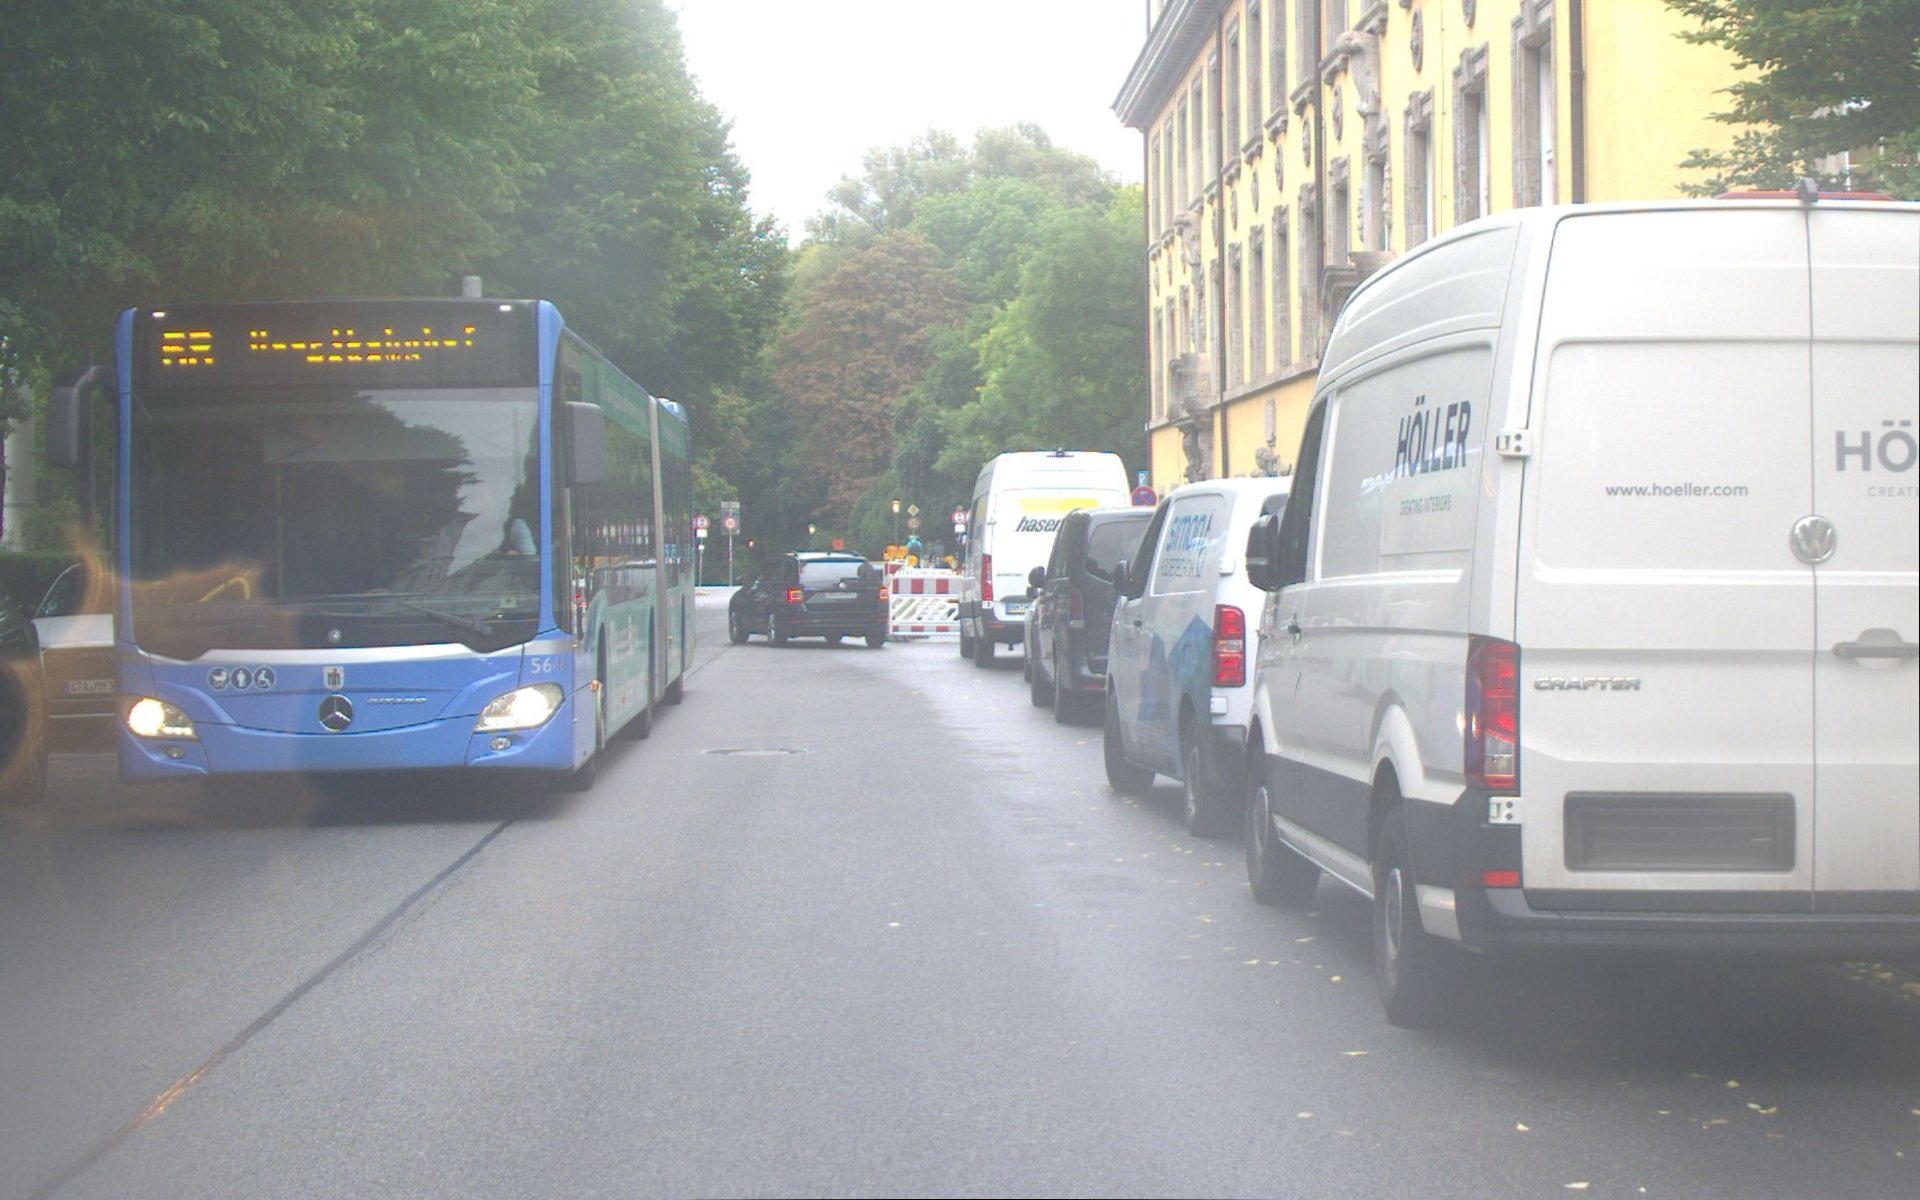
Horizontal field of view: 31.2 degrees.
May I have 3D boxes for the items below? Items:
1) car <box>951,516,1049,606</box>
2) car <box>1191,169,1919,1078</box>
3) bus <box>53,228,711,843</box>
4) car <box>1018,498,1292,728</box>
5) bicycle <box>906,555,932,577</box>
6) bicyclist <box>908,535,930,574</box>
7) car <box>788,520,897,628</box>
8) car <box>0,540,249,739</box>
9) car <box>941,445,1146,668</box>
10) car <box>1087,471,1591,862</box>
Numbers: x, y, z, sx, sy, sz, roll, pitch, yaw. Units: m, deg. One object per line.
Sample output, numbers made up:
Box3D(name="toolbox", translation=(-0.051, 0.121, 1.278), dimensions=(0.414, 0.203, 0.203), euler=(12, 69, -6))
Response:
Box3D(name="car", translation=(0.774, -0.760, 69.852), dimensions=(1.739, 1.744, 4.356), euler=(-1, 0, -2))
Box3D(name="car", translation=(2.227, 0.056, 12.336), dimensions=(2.095, 2.479, 5.740), euler=(-1, 0, -3))
Box3D(name="bus", translation=(-3.729, -0.345, 27.444), dimensions=(2.859, 3.228, 18.427), euler=(-1, 0, -2))
Box3D(name="car", translation=(1.644, 0.086, 30.734), dimensions=(1.870, 1.862, 4.987), euler=(-1, 1, -3))
Box3D(name="bicycle", translation=(-1.615, -1.335, 134.673), dimensions=(0.679, 0.827, 2.110), euler=(-1, 0, -10))
Box3D(name="bicyclist", translation=(-1.602, -1.773, 134.551), dimensions=(0.680, 1.499, 0.901), euler=(-1, 1, -10))
Box3D(name="car", translation=(-1.777, -0.415, 53.012), dimensions=(1.577, 1.578, 4.044), euler=(-1, 1, -1))
Box3D(name="car", translation=(-7.484, 0.300, 30.115), dimensions=(1.784, 1.592, 4.585), euler=(-1, 1, -3))
Box3D(name="car", translation=(0.984, -0.560, 45.209), dimensions=(2.054, 2.664, 7.615), euler=(-1, 1, -3))
Box3D(name="car", translation=(1.954, 0.294, 19.421), dimensions=(2.013, 1.900, 5.164), euler=(1, 1, -3))
